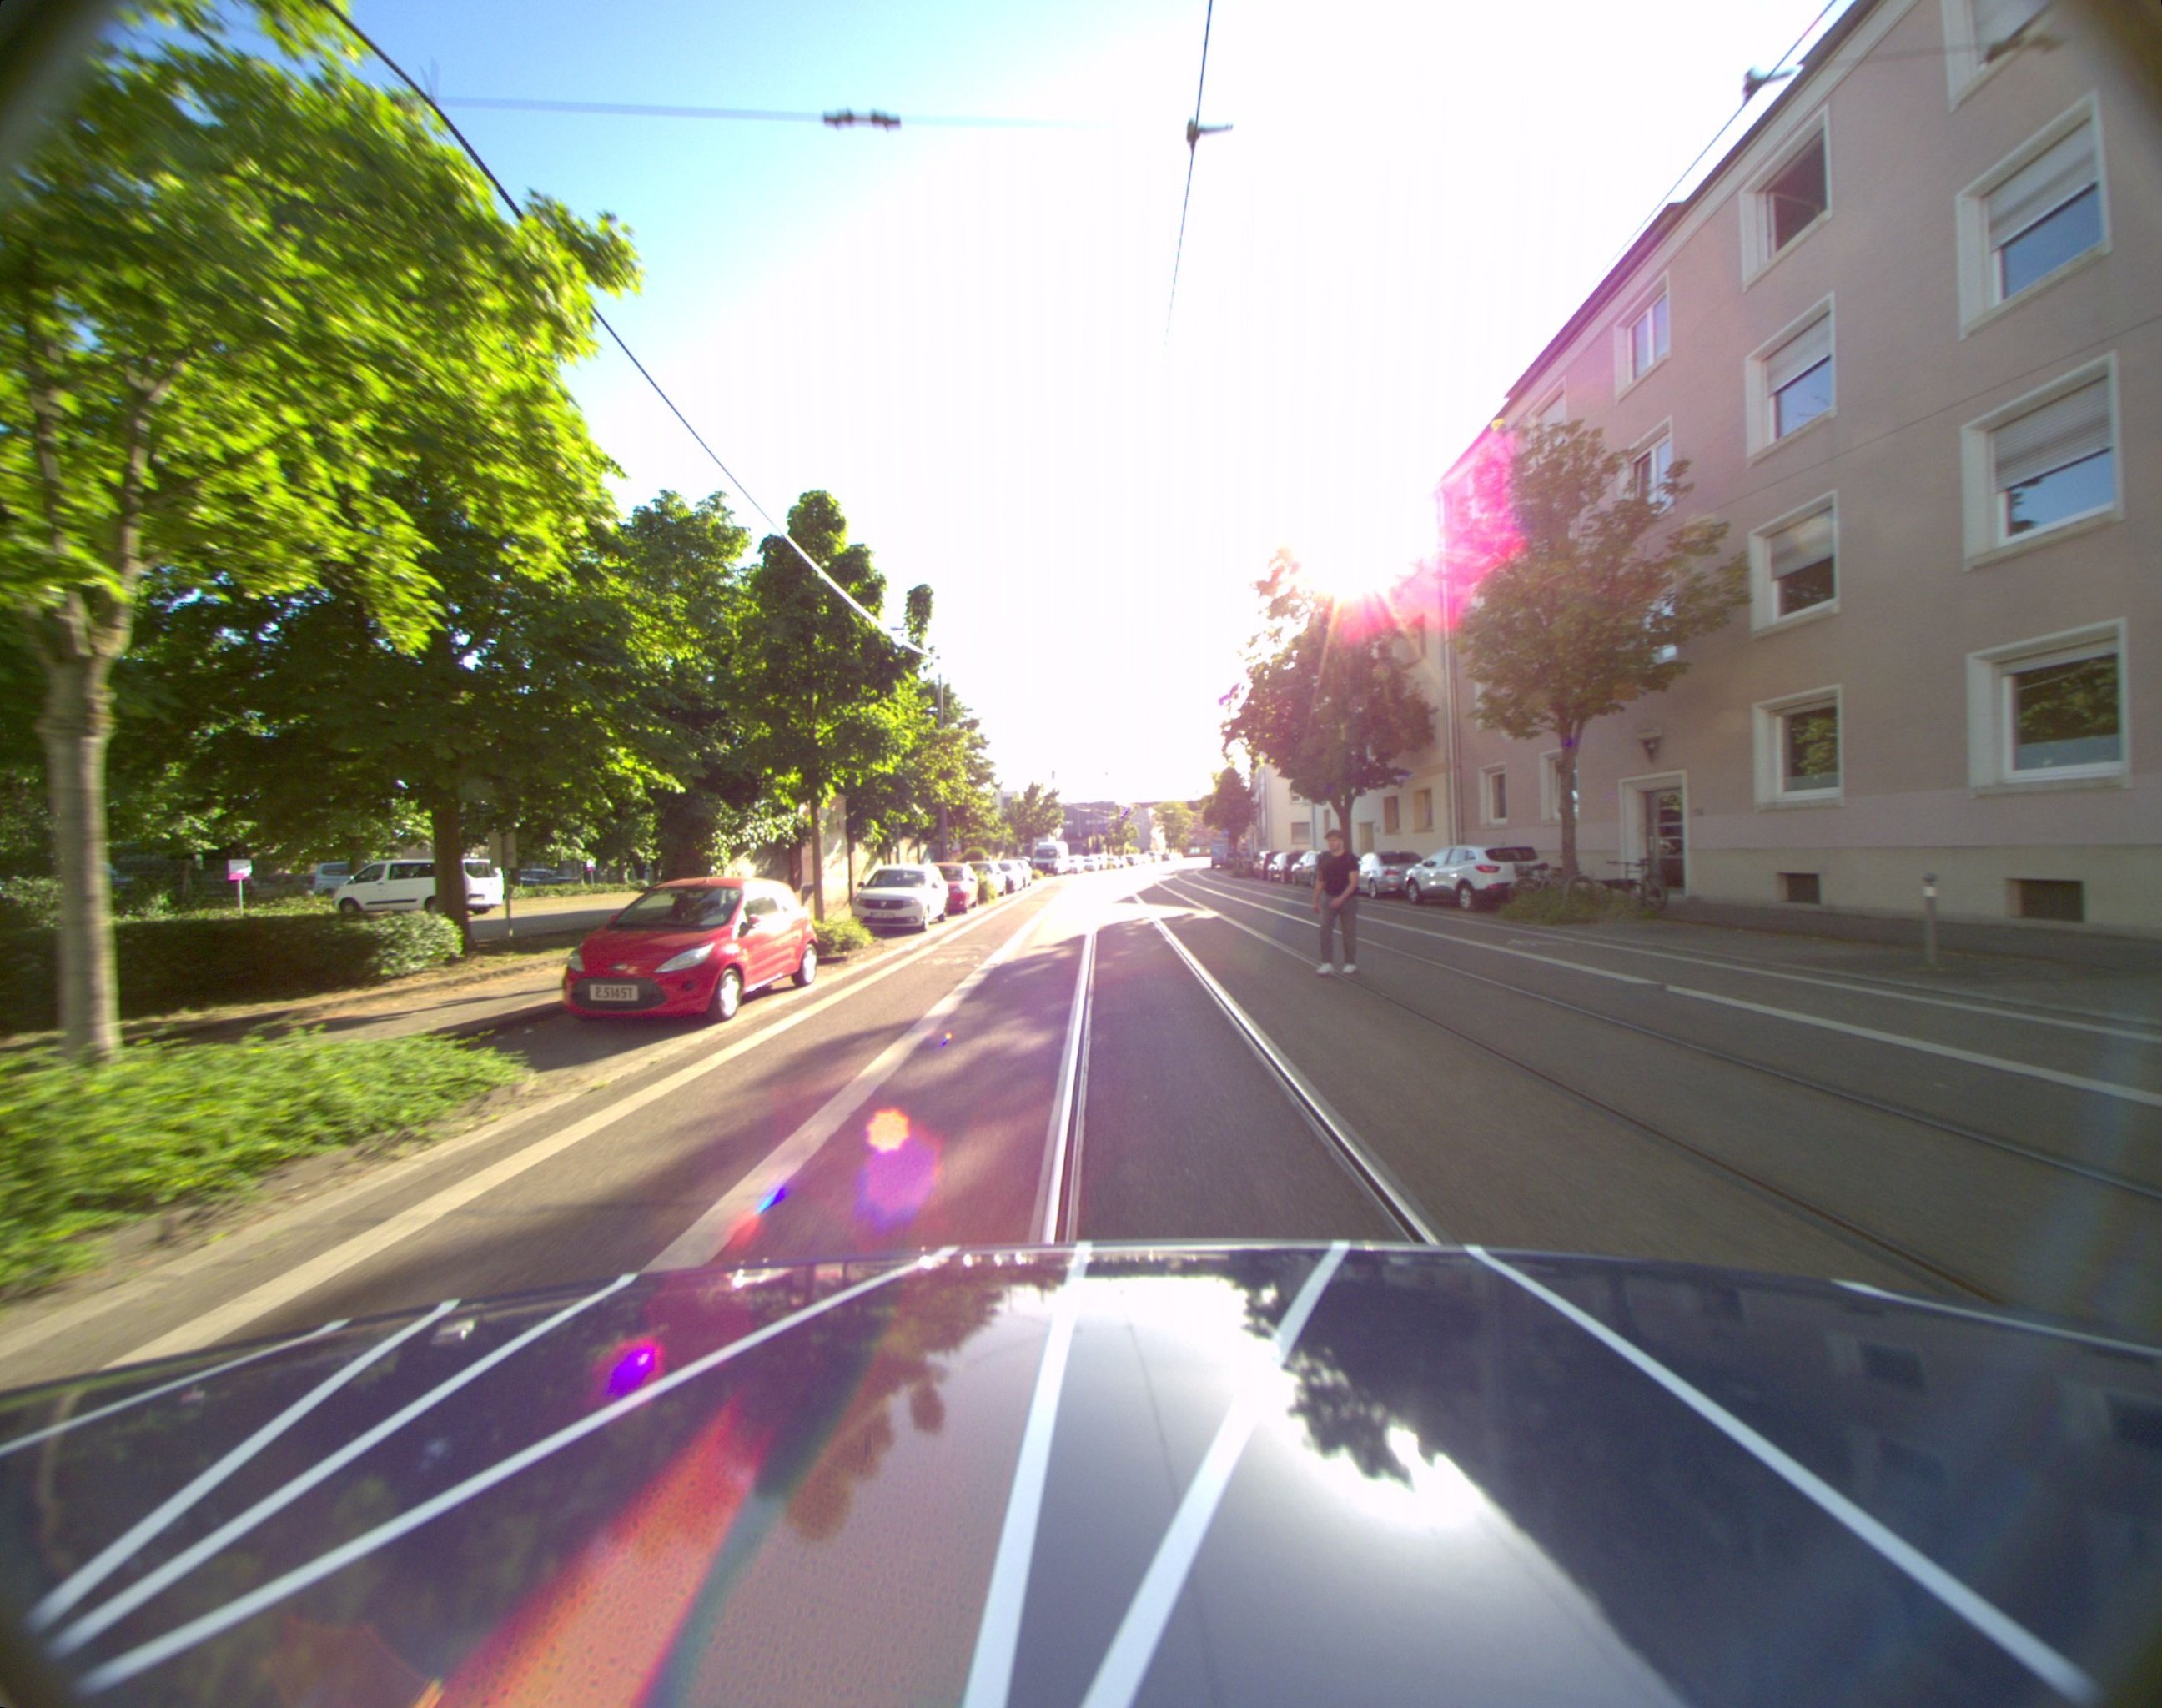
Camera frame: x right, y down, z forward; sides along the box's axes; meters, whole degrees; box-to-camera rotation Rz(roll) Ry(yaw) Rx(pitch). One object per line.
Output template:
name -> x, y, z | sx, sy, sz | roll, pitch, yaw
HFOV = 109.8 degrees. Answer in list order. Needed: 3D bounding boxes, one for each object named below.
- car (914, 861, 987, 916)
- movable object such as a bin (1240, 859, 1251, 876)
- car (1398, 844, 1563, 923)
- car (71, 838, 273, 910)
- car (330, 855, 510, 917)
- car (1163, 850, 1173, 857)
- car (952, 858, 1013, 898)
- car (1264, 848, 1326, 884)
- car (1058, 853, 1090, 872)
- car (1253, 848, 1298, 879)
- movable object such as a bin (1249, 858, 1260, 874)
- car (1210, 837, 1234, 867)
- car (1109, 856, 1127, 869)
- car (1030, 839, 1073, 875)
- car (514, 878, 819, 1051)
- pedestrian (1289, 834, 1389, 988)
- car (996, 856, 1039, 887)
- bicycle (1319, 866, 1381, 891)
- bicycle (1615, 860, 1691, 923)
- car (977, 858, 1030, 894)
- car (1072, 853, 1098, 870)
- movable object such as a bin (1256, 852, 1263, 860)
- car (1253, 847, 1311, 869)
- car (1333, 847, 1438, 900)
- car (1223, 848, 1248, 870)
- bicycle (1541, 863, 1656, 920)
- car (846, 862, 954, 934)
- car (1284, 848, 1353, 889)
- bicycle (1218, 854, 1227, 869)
car -> -4.097, 1.039, 24.420 | 1.693, 1.521, 3.999 | -1, 0, -1
movable object such as a bin -> 10.029, 0.815, 46.286 | 0.486, 0.982, 0.660 | -3, 1, 4
car -> 9.760, 0.656, 18.999 | 1.656, 1.658, 4.295 | -3, 0, -2
car -> -30.828, 0.656, 25.887 | 4.198, 2.228, 2.143 | -2, 0, 0
car -> -22.754, 1.083, 26.271 | 4.476, 1.814, 2.045 | -3, 0, 4
car -> 18.487, -0.106, 161.060 | 1.705, 1.473, 4.662 | 1, 1, 12
car -> -4.022, 0.952, 31.724 | 1.692, 1.521, 4.001 | -1, 0, 5
car -> 10.285, 0.551, 36.784 | 1.791, 1.521, 3.857 | -4, 0, -1
car -> -0.579, 0.728, 66.908 | 1.913, 1.521, 4.604 | -1, 1, 11
car -> 10.423, 0.469, 40.900 | 1.692, 1.521, 4.001 | -2, 0, 5
movable object such as a bin -> 10.569, 0.727, 46.235 | 0.486, 0.982, 0.660 | -3, 1, 4
car -> 13.974, -0.240, 75.016 | 2.020, 2.809, 6.037 | -3, 0, 13
car -> 4.652, 1.063, 94.753 | 1.731, 1.455, 4.343 | -3, 0, 8
car -> -2.274, 0.191, 60.368 | 2.184, 2.650, 6.095 | 0, 1, 10
car -> -4.512, 1.101, 8.893 | 1.639, 1.499, 3.397 | 0, 0, 2
pedestrian -> 3.103, 0.656, 9.188 | 0.853, 1.766, 0.734 | -1, 0, -18
car -> -3.428, 0.916, 41.587 | 1.692, 1.521, 4.001 | -1, 0, 5
bicycle -> 10.112, 0.906, 28.603 | 2.132, 0.820, 0.477 | -3, 1, 1
bicycle -> 10.712, 0.672, 14.281 | 0.329, 1.095, 1.440 | -3, 0, 1
car -> -3.578, 0.975, 35.983 | 1.692, 1.521, 4.356 | -1, 0, 5
car -> 0.426, 0.696, 73.474 | 1.730, 1.595, 4.346 | 0, 1, 12
movable object such as a bin -> 18.997, 0.213, 80.807 | 0.597, 0.929, 0.569 | -2, 1, 9
car -> 14.898, 0.292, 56.403 | 3.894, 1.449, 1.769 | -3, 0, 8
car -> 9.666, 0.563, 24.547 | 1.692, 1.466, 4.660 | -3, 0, 3
car -> 13.576, 0.407, 66.778 | 1.794, 1.551, 4.645 | -12, -2, 11
bicycle -> 10.446, 0.753, 15.375 | 1.929, 1.040, 0.476 | -3, 1, 3
car -> -4.375, 1.014, 18.991 | 1.693, 1.521, 4.000 | -1, 0, 1
car -> 10.141, 0.581, 32.710 | 1.595, 1.604, 3.730 | -3, 0, -3
bicycle -> 11.545, 0.600, 61.993 | 0.513, 1.127, 2.032 | -3, 0, 5
